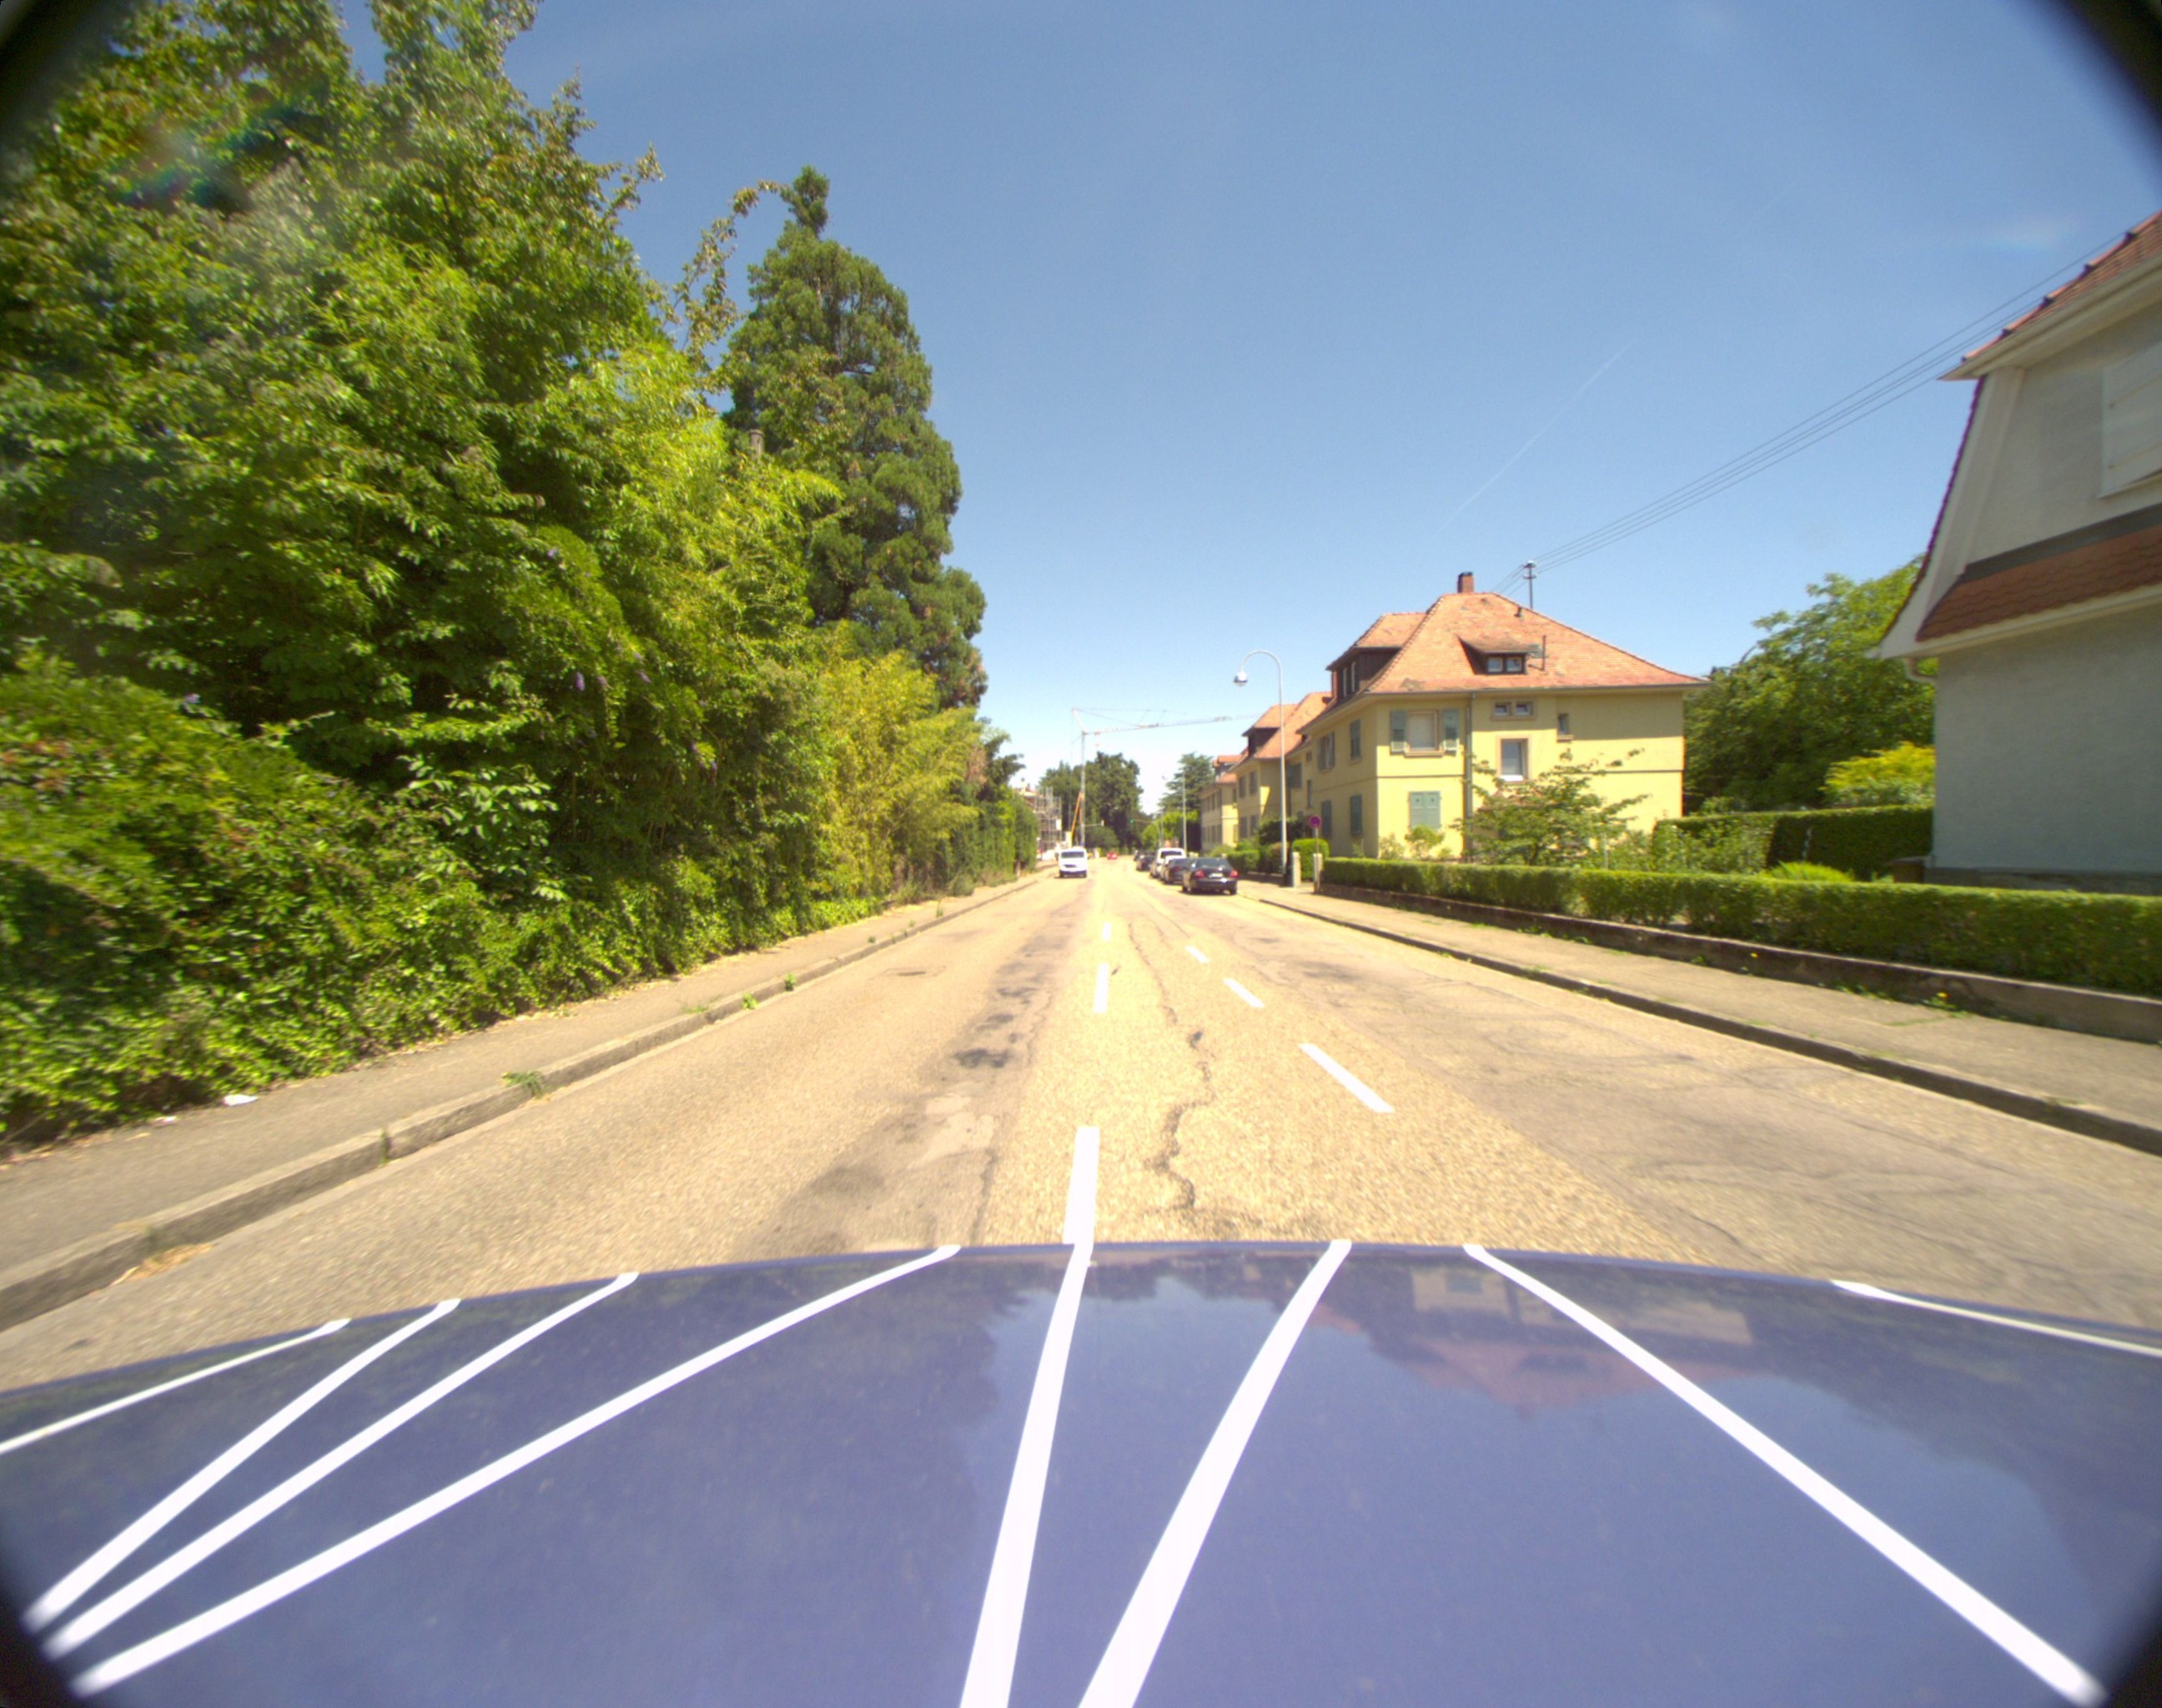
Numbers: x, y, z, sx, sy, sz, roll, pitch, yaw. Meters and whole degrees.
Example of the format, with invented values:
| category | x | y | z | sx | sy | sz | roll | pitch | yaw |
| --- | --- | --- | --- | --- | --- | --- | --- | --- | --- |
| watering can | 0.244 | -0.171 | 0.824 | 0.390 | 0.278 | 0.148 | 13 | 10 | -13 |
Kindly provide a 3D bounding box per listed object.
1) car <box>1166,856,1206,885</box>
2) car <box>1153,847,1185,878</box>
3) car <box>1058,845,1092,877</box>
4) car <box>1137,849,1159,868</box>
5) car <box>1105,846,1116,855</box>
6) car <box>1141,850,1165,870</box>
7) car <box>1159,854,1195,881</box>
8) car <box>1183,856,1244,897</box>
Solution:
| category | x | y | z | sx | sy | sz | roll | pitch | yaw |
| --- | --- | --- | --- | --- | --- | --- | --- | --- | --- |
| car | 5.257 | 0.786 | 38.446 | 1.753 | 1.390 | 4.001 | 0 | 0 | 4 |
| car | 5.581 | 0.508 | 48.591 | 1.753 | 1.885 | 4.000 | 0 | 0 | 2 |
| car | -0.335 | 0.459 | 52.309 | 1.998 | 2.002 | 4.387 | -3 | 1 | 3 |
| car | 6.563 | 0.448 | 74.410 | 1.998 | 1.674 | 4.001 | -3 | 1 | 5 |
| car | 6.162 | -0.822 | 159.436 | 1.998 | 1.740 | 3.999 | -3 | 1 | 0 |
| car | 6.560 | 0.494 | 69.082 | 1.998 | 1.674 | 4.001 | -3 | 1 | 5 |
| car | 5.487 | 0.751 | 43.725 | 1.753 | 1.427 | 4.001 | 0 | 0 | 3 |
| car | 4.987 | 0.807 | 29.078 | 1.753 | 1.390 | 4.000 | 1 | 1 | 2 |
